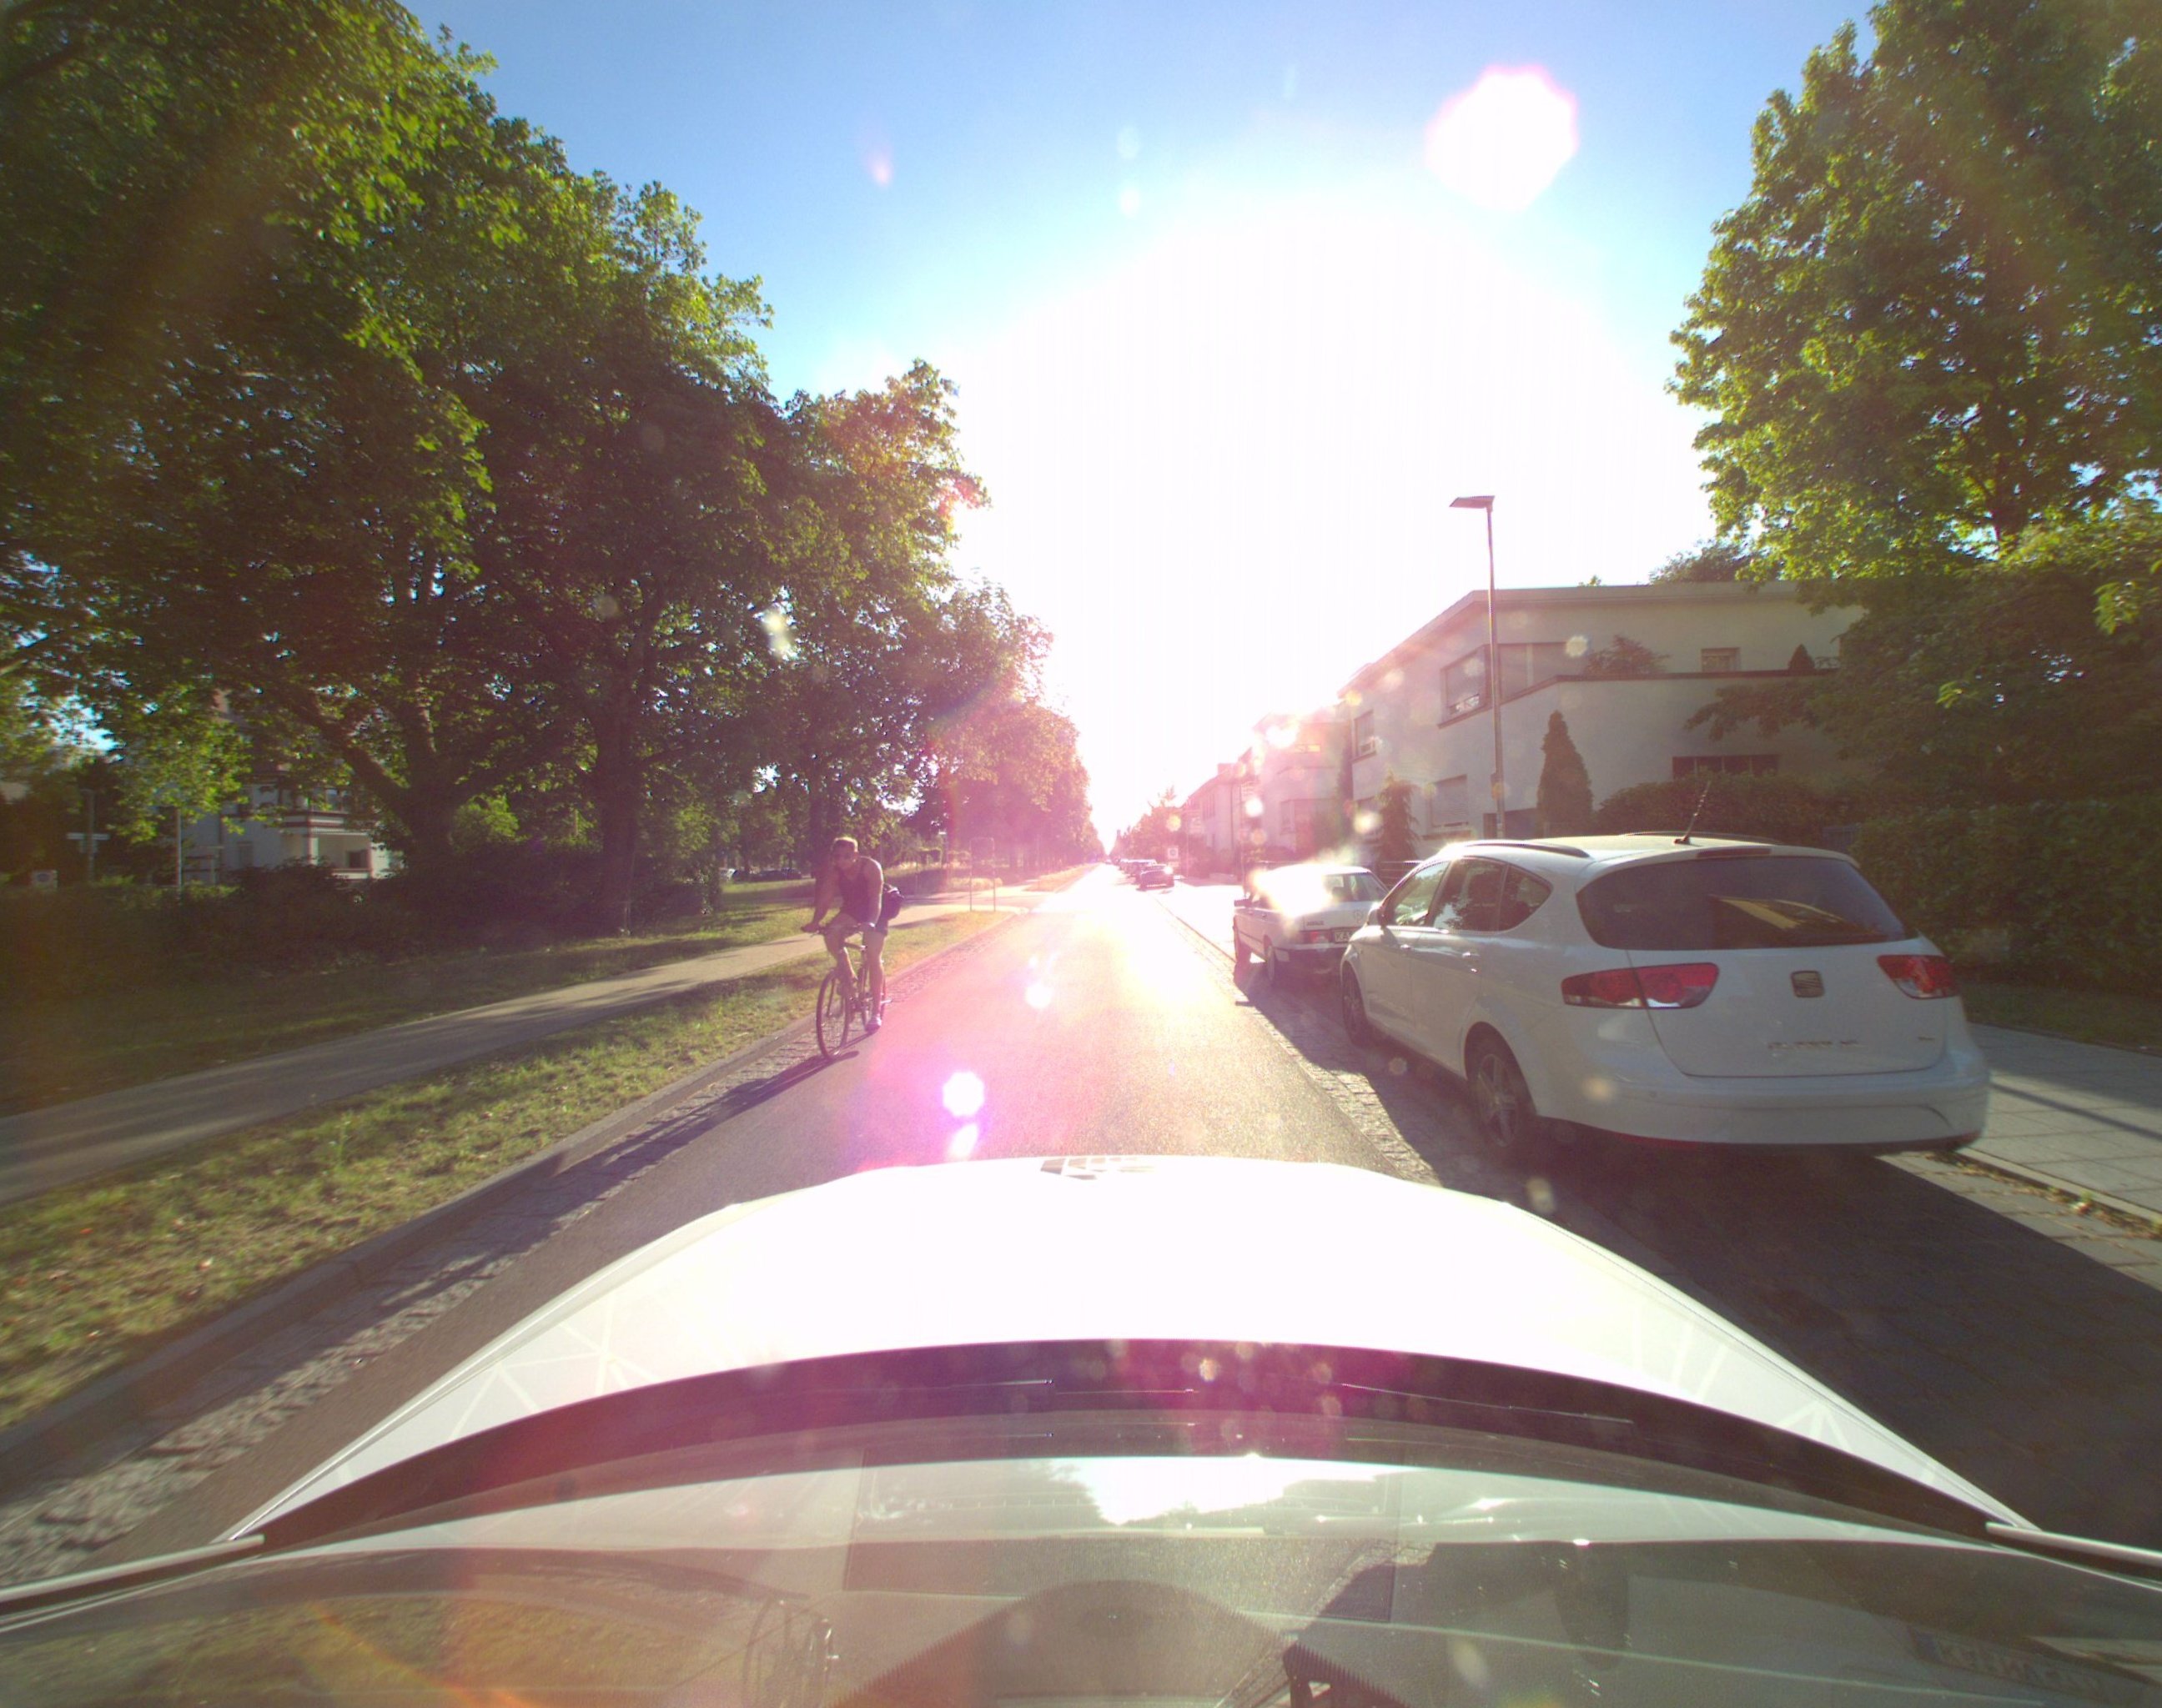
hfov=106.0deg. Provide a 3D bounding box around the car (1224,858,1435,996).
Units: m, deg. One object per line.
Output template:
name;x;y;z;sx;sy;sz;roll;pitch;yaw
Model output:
car;2.993;0.789;10.767;1.557;1.390;4.376;-3;-1;2

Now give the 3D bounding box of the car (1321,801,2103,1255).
car;2.852;0.645;4.983;1.672;1.555;4.133;-3;-1;3

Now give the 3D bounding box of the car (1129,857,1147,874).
car;5.518;1.133;78.952;1.621;1.505;3.635;-3;0;3

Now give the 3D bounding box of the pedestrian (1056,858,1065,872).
pedestrian;-2.310;1.236;91.967;0.779;1.614;0.953;-1;-1;5

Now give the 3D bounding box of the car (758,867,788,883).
car;-33.790;2.296;89.438;1.686;1.597;4.222;-1;-1;1

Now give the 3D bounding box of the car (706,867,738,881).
car;-39.750;2.178;90.247;1.623;1.406;4.001;-1;0;2

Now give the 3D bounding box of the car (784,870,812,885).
car;-33.293;2.744;95.841;1.686;1.597;4.222;-1;-1;1

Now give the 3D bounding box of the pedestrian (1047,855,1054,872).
pedestrian;-3.388;1.071;91.545;0.621;1.831;0.887;-1;-1;5

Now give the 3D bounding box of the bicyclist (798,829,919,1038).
bicyclist;-1.928;0.659;7.208;0.679;1.673;1.173;-2;-2;1

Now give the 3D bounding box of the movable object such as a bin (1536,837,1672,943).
movable object such as a bin;7.463;0.502;11.696;1.232;1.432;1.124;-1;-1;3

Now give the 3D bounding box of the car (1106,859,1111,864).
car;8.393;2.275;247.494;1.646;1.541;3.268;0;-1;2

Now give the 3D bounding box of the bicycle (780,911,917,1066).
bicycle;-1.914;1.060;6.984;0.554;1.032;1.915;-2;-1;1

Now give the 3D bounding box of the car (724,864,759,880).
car;-34.626;1.799;83.134;1.686;1.597;4.222;-1;-1;1

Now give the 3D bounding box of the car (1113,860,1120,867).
car;9.146;2.435;209.144;1.645;1.541;3.269;0;-1;3

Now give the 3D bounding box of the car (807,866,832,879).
car;-33.935;2.334;105.813;1.686;1.597;4.222;-1;-1;1

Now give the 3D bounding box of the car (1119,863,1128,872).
car;7.653;2.383;146.522;1.492;1.567;3.269;-2;-1;3

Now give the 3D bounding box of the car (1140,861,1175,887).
car;4.420;1.124;47.656;1.768;1.288;4.275;-4;0;2

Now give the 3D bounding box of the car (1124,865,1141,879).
car;6.004;2.098;95.472;1.731;1.449;4.197;-3;-1;1

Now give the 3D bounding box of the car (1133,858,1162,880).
car;4.785;1.068;59.109;1.738;1.474;3.922;-4;-1;1
